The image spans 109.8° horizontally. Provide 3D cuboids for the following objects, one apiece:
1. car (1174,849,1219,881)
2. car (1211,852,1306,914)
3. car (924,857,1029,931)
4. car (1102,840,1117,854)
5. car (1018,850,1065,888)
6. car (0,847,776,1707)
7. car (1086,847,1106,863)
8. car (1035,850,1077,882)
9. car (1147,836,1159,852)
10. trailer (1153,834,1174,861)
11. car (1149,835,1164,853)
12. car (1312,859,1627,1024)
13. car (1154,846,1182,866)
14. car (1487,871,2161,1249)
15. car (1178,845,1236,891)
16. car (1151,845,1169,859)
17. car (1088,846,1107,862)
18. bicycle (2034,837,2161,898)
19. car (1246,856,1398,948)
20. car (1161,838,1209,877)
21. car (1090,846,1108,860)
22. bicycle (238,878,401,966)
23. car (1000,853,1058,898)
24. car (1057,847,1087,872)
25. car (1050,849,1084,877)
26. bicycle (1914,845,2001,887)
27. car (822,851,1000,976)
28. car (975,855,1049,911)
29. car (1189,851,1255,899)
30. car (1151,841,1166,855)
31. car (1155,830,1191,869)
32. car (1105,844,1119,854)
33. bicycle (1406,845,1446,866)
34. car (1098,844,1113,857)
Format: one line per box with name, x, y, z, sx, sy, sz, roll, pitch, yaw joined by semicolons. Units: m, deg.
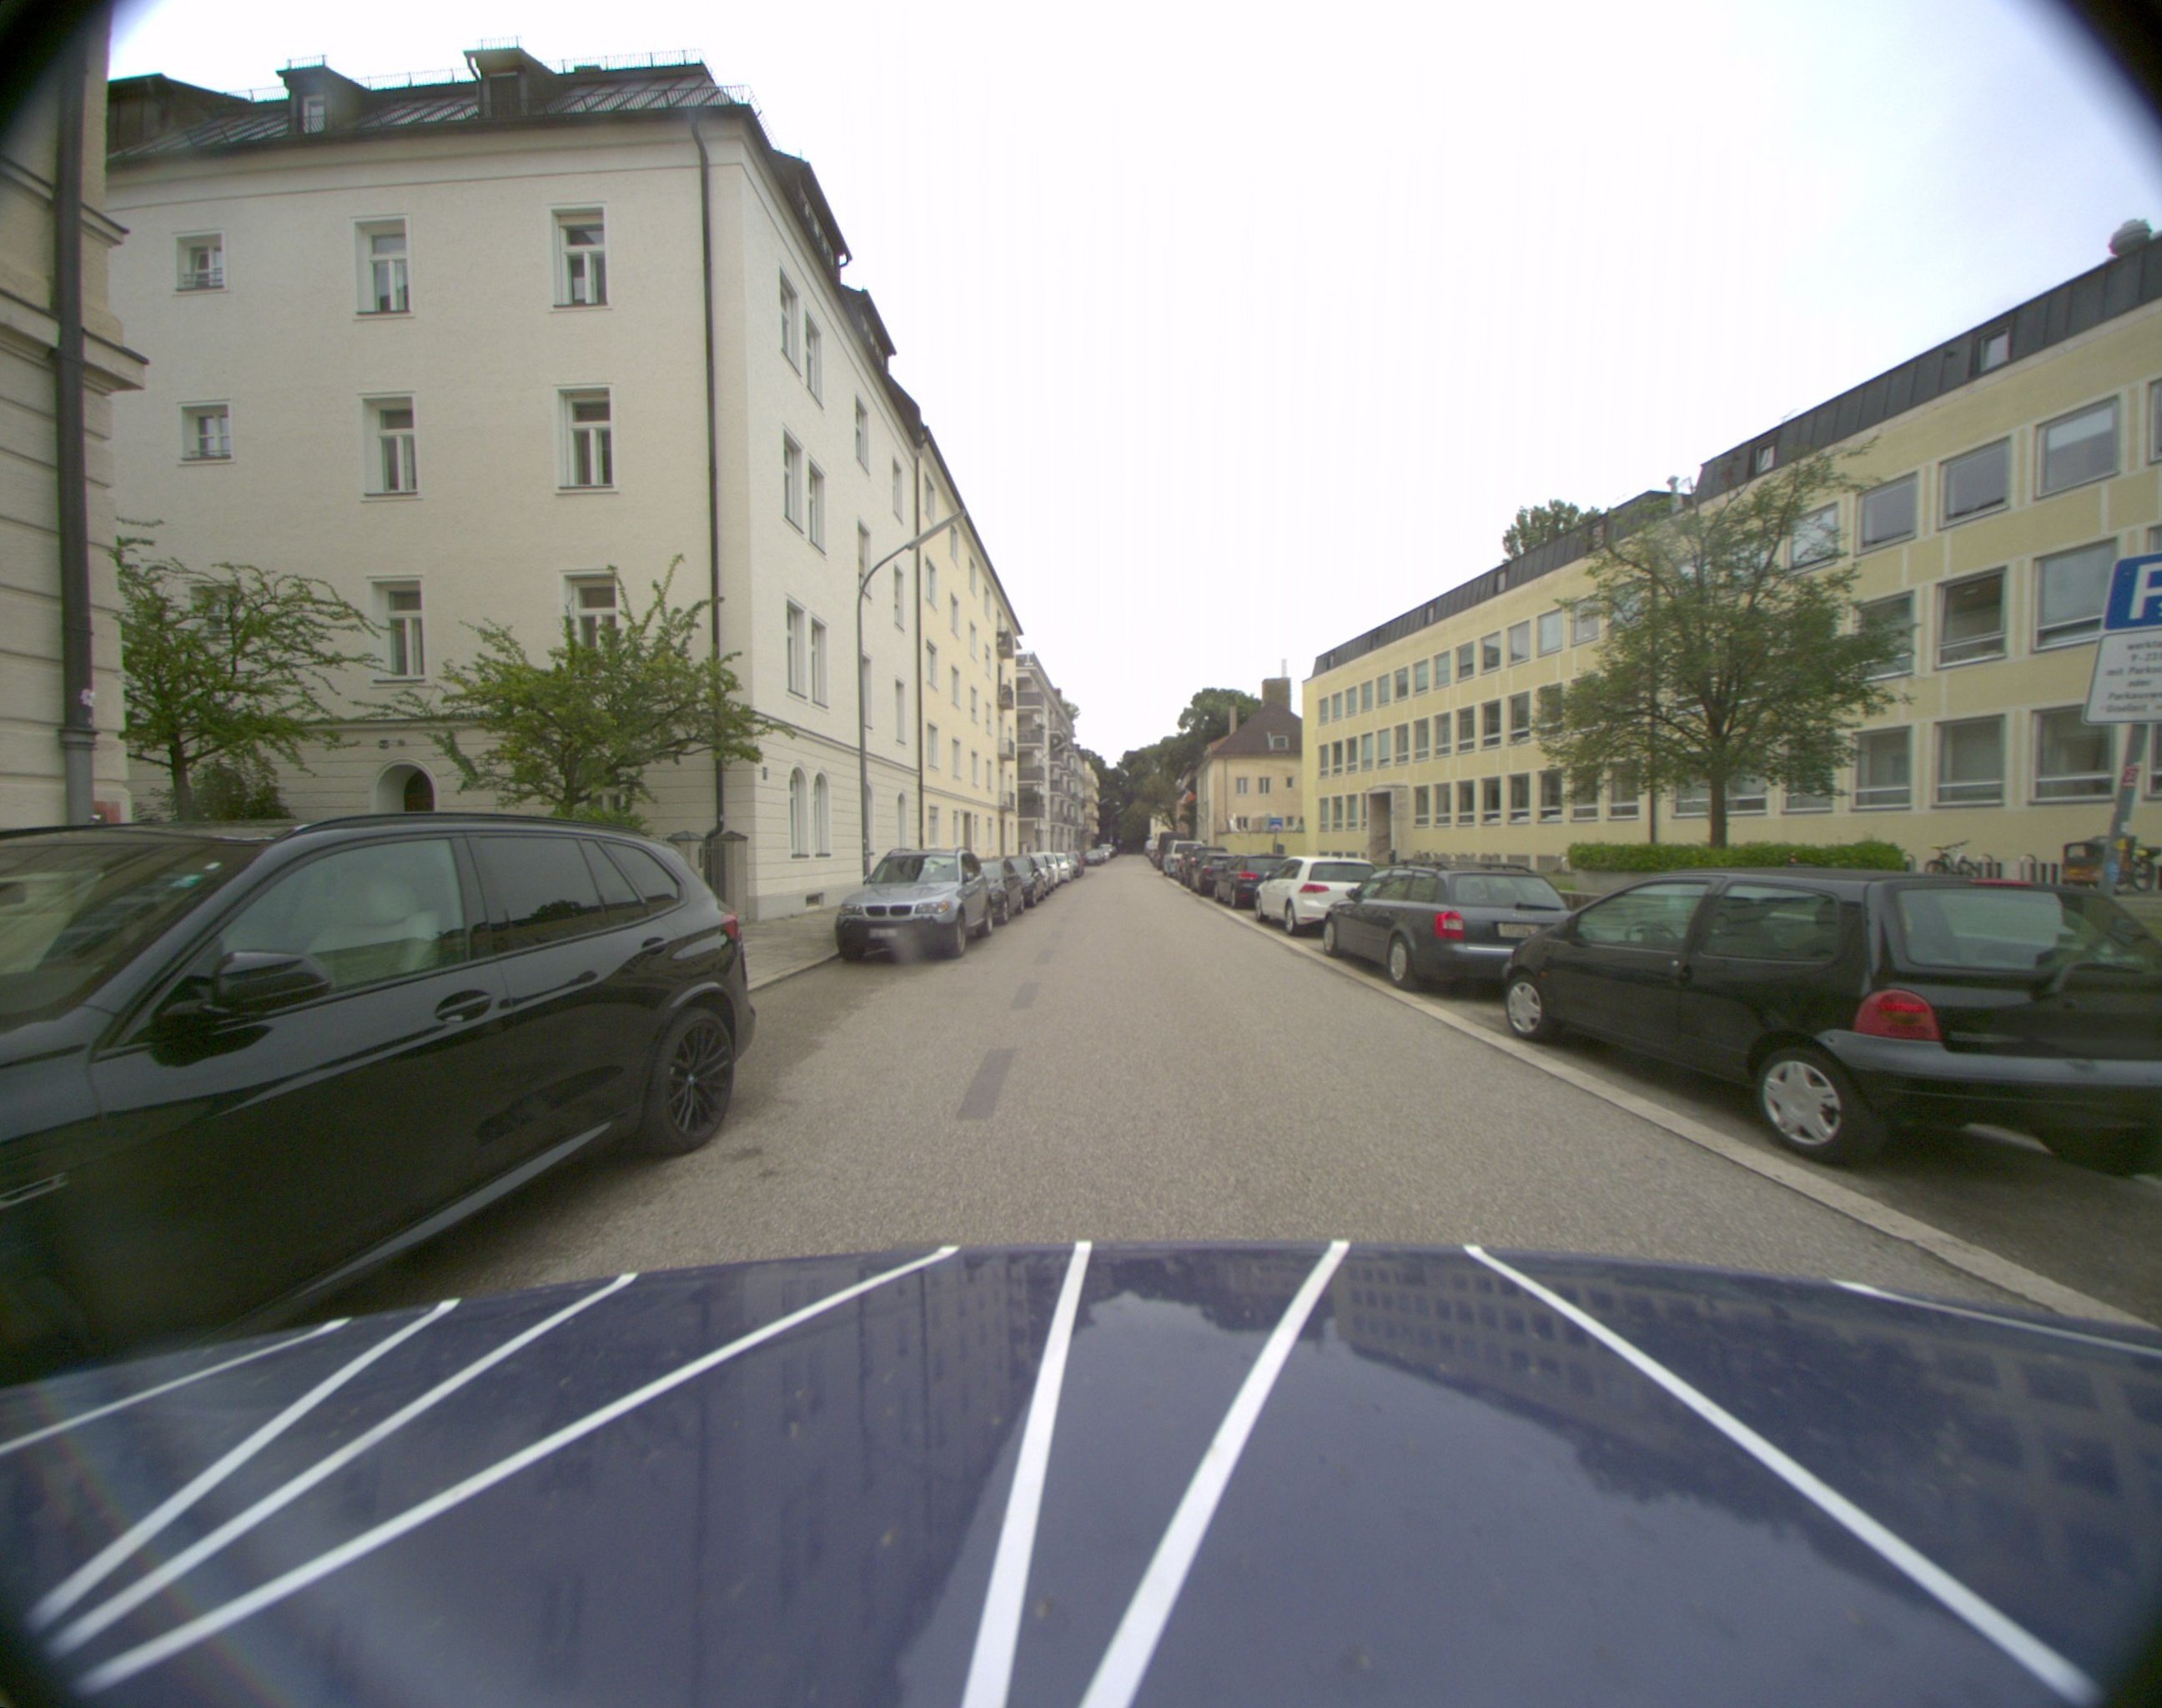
car;5.495;0.508;36.607;1.747;1.379;3.918;-2;1;3
car;4.730;0.716;20.782;1.661;1.445;3.973;1;1;0
car;-2.300;0.838;17.797;1.683;1.419;4.087;-1;1;3
car;4.066;-0.992;108.393;1.870;2.002;4.268;-1;1;5
car;-1.661;0.592;33.151;1.683;1.473;4.166;-1;1;2
car;-3.078;0.889;2.496;1.873;1.707;4.865;-2;1;4
car;1.413;0.100;71.864;1.784;1.386;4.246;-1;1;0
car;-1.181;0.536;37.771;1.683;1.402;4.443;-1;1;2
car;11.882;-1.638;125.075;1.880;2.540;4.371;-1;1;5
trailer;8.263;-0.660;75.969;1.816;2.521;3.390;3;2;8
car;10.791;-1.410;108.639;2.103;2.418;4.550;-1;1;6
car;4.344;0.849;9.415;1.759;1.445;4.396;1;1;2
car;6.762;0.145;59.506;1.706;1.485;3.489;-1;1;-1
car;4.301;0.905;4.822;1.661;1.445;3.311;1;1;0
car;5.066;0.499;31.097;1.748;1.656;4.449;2;1;2
car;8.469;-0.221;81.437;1.767;1.505;3.842;0;1;4
car;1.648;-0.023;76.702;1.766;1.449;3.418;-1;1;3
bicycle;22.646;0.269;16.787;2.443;1.241;1.055;-1;1;-14
car;4.515;0.819;14.875;1.661;1.445;4.072;1;1;0
car;5.580;0.118;41.345;1.933;1.968;5.021;0;1;1
car;1.973;-0.150;81.353;1.766;1.449;3.747;-1;1;3
bicycle;-10.466;0.911;10.463;1.875;1.088;0.581;1;2;9
car;-1.812;0.712;27.709;1.683;1.419;4.166;-1;1;2
car;-0.514;0.331;48.571;1.683;1.489;3.824;-1;1;2
car;-0.747;0.472;43.173;1.683;1.402;4.421;-1;1;2
bicycle;22.394;0.301;19.412;1.954;1.008;0.625;-1;1;-14
car;-2.553;0.803;12.580;1.726;1.625;4.457;-1;1;3
car;-1.960;0.793;22.747;1.683;1.419;4.391;-1;1;2
car;4.739;0.647;25.972;1.684;1.445;3.870;1;1;2
car;9.962;-0.834;98.404;1.817;1.724;3.650;-1;1;4
car;6.535;-0.322;54.400;2.302;2.630;5.654;1;1;5
car;4.657;-0.780;114.007;1.870;1.455;4.268;-1;1;5
bicycle;18.371;0.083;40.454;1.954;1.009;0.580;-2;1;-14
car;2.997;-0.425;93.211;1.766;1.449;3.747;-1;1;3
